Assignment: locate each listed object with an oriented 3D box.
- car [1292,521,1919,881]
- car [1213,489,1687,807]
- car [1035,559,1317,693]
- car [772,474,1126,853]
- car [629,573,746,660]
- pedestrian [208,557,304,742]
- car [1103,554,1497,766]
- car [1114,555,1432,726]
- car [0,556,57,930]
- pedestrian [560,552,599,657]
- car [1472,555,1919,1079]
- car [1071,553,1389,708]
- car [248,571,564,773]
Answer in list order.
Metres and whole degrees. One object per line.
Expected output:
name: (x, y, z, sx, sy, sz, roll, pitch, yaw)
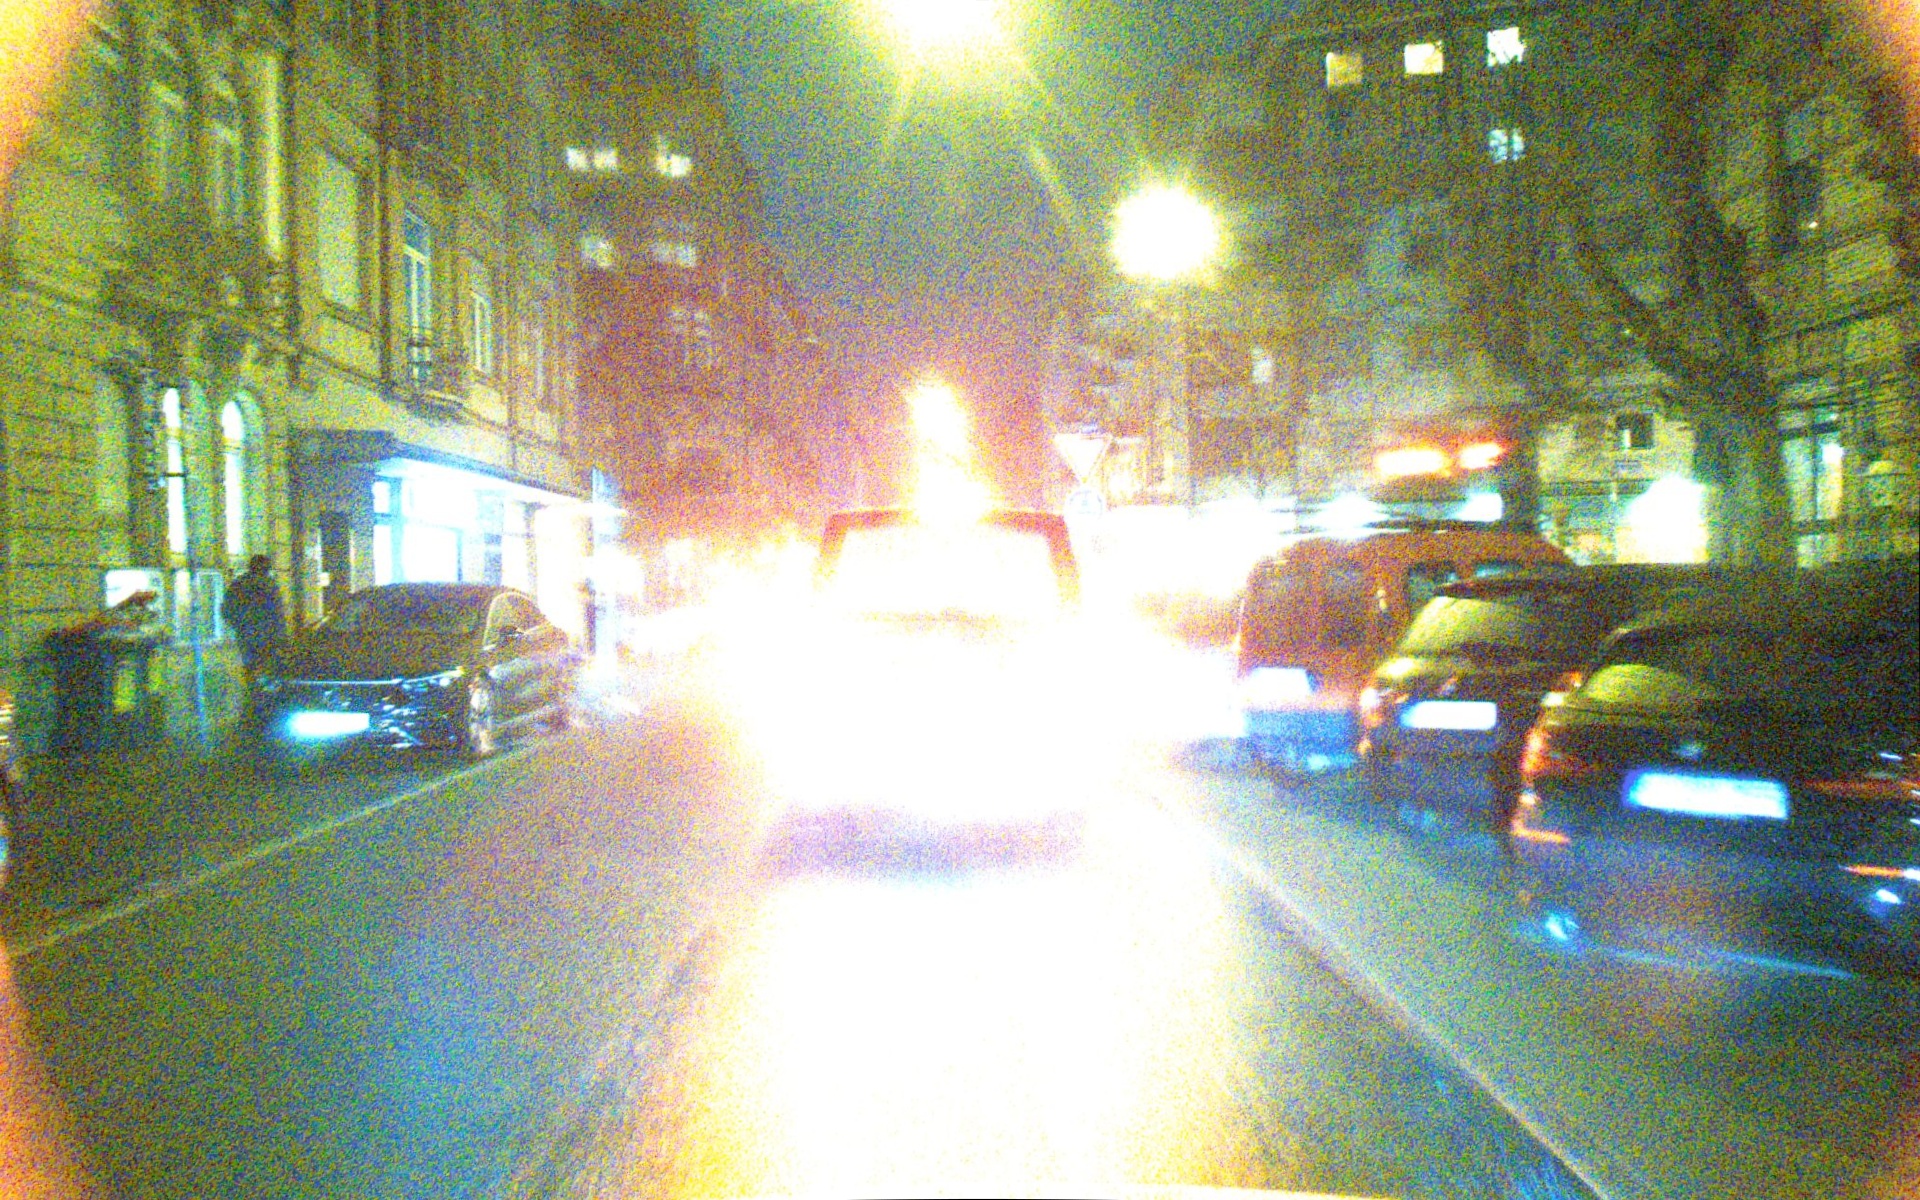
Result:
car: (4.032, 0.438, 9.820, 3.959, 1.615, 1.856, -4, 1, -37)
car: (3.714, 0.252, 12.311, 3.529, 2.025, 1.584, -3, 0, -38)
car: (3.177, 0.330, 24.000, 3.959, 1.792, 1.855, 0, 0, -38)
car: (-0.093, 0.357, 11.185, 1.953, 2.086, 3.999, 0, 0, -1)
car: (-5.631, 0.311, 34.619, 1.845, 1.714, 3.999, 0, 0, -1)
pedestrian: (-6.733, 0.464, 15.836, 0.687, 1.734, 0.539, 0, 0, -1)
car: (3.164, 0.477, 15.116, 3.529, 1.618, 1.584, -3, 0, -38)
car: (3.600, 0.406, 18.818, 3.533, 1.764, 1.667, 0, 0, -38)
car: (-4.755, 0.619, 5.409, 1.623, 1.584, 4.073, 0, 0, -4)
pedestrian: (-7.115, 0.078, 30.938, 0.648, 1.937, 0.538, 0, 0, -5)
car: (3.775, 0.582, 6.379, 3.527, 1.478, 1.651, -3, 0, -37)
car: (3.494, 0.330, 21.119, 3.959, 1.792, 1.855, 0, 1, -38)
car: (-4.849, 0.548, 15.075, 1.777, 1.584, 4.073, 0, 0, -4)
